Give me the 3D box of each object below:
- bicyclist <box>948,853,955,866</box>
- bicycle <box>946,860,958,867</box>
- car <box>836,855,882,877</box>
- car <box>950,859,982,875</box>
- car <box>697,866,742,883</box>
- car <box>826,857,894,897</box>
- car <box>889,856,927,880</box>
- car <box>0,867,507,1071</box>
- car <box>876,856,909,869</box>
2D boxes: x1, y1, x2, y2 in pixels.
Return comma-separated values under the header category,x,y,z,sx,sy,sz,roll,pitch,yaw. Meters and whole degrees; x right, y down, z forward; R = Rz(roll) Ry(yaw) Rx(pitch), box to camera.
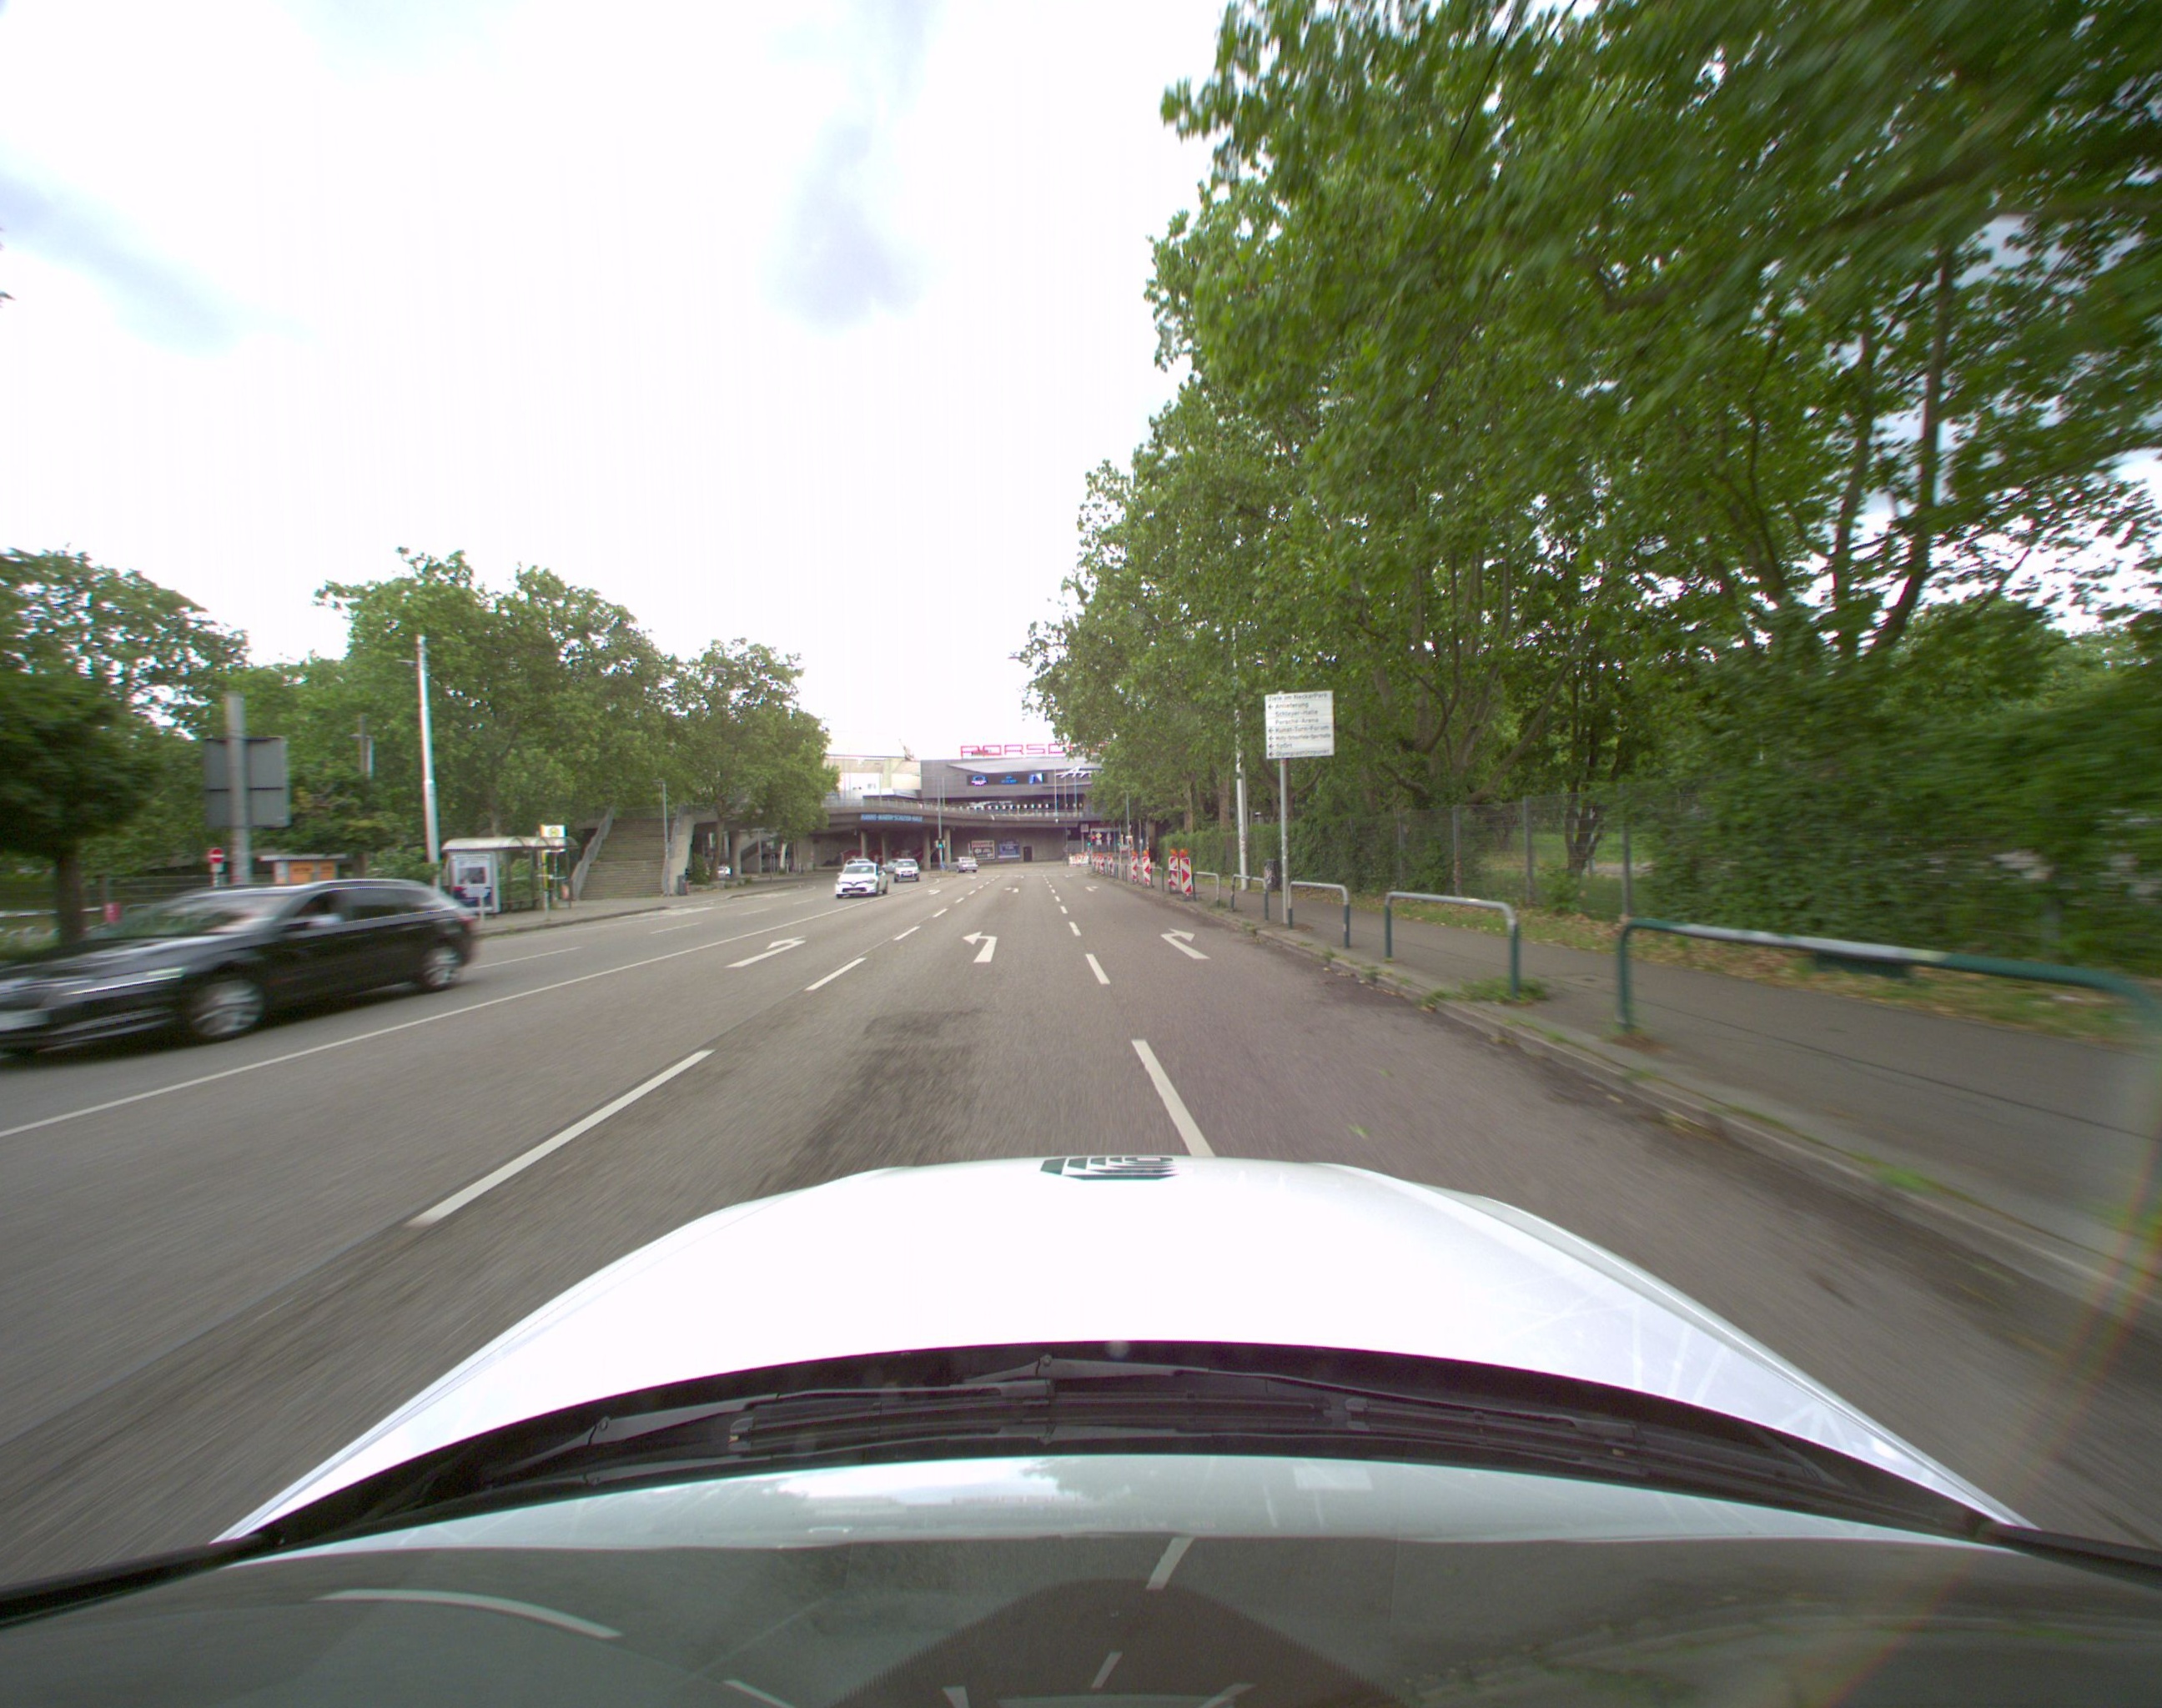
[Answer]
category,x,y,z,sx,sy,sz,roll,pitch,yaw
bicyclist,-16.834,0.732,106.158,0.851,1.697,0.765,0,-1,-7
bicycle,-16.826,1.232,106.148,1.531,1.013,0.515,0,-1,-8
car,-19.185,1.042,70.314,2.011,1.744,4.540,-1,-1,-41
car,-10.970,1.211,77.467,2.003,1.418,3.968,-1,0,-24
car,-39.261,2.221,88.599,3.978,1.660,1.998,-1,0,-4
car,-9.609,0.942,35.760,1.990,1.530,4.378,-3,0,-5
car,-12.010,0.954,56.812,1.990,1.525,3.994,-3,0,-4
car,-8.908,0.996,8.987,1.990,1.530,4.718,-3,0,-5
car,-20.017,0.890,86.267,3.351,1.313,1.626,-1,0,37
